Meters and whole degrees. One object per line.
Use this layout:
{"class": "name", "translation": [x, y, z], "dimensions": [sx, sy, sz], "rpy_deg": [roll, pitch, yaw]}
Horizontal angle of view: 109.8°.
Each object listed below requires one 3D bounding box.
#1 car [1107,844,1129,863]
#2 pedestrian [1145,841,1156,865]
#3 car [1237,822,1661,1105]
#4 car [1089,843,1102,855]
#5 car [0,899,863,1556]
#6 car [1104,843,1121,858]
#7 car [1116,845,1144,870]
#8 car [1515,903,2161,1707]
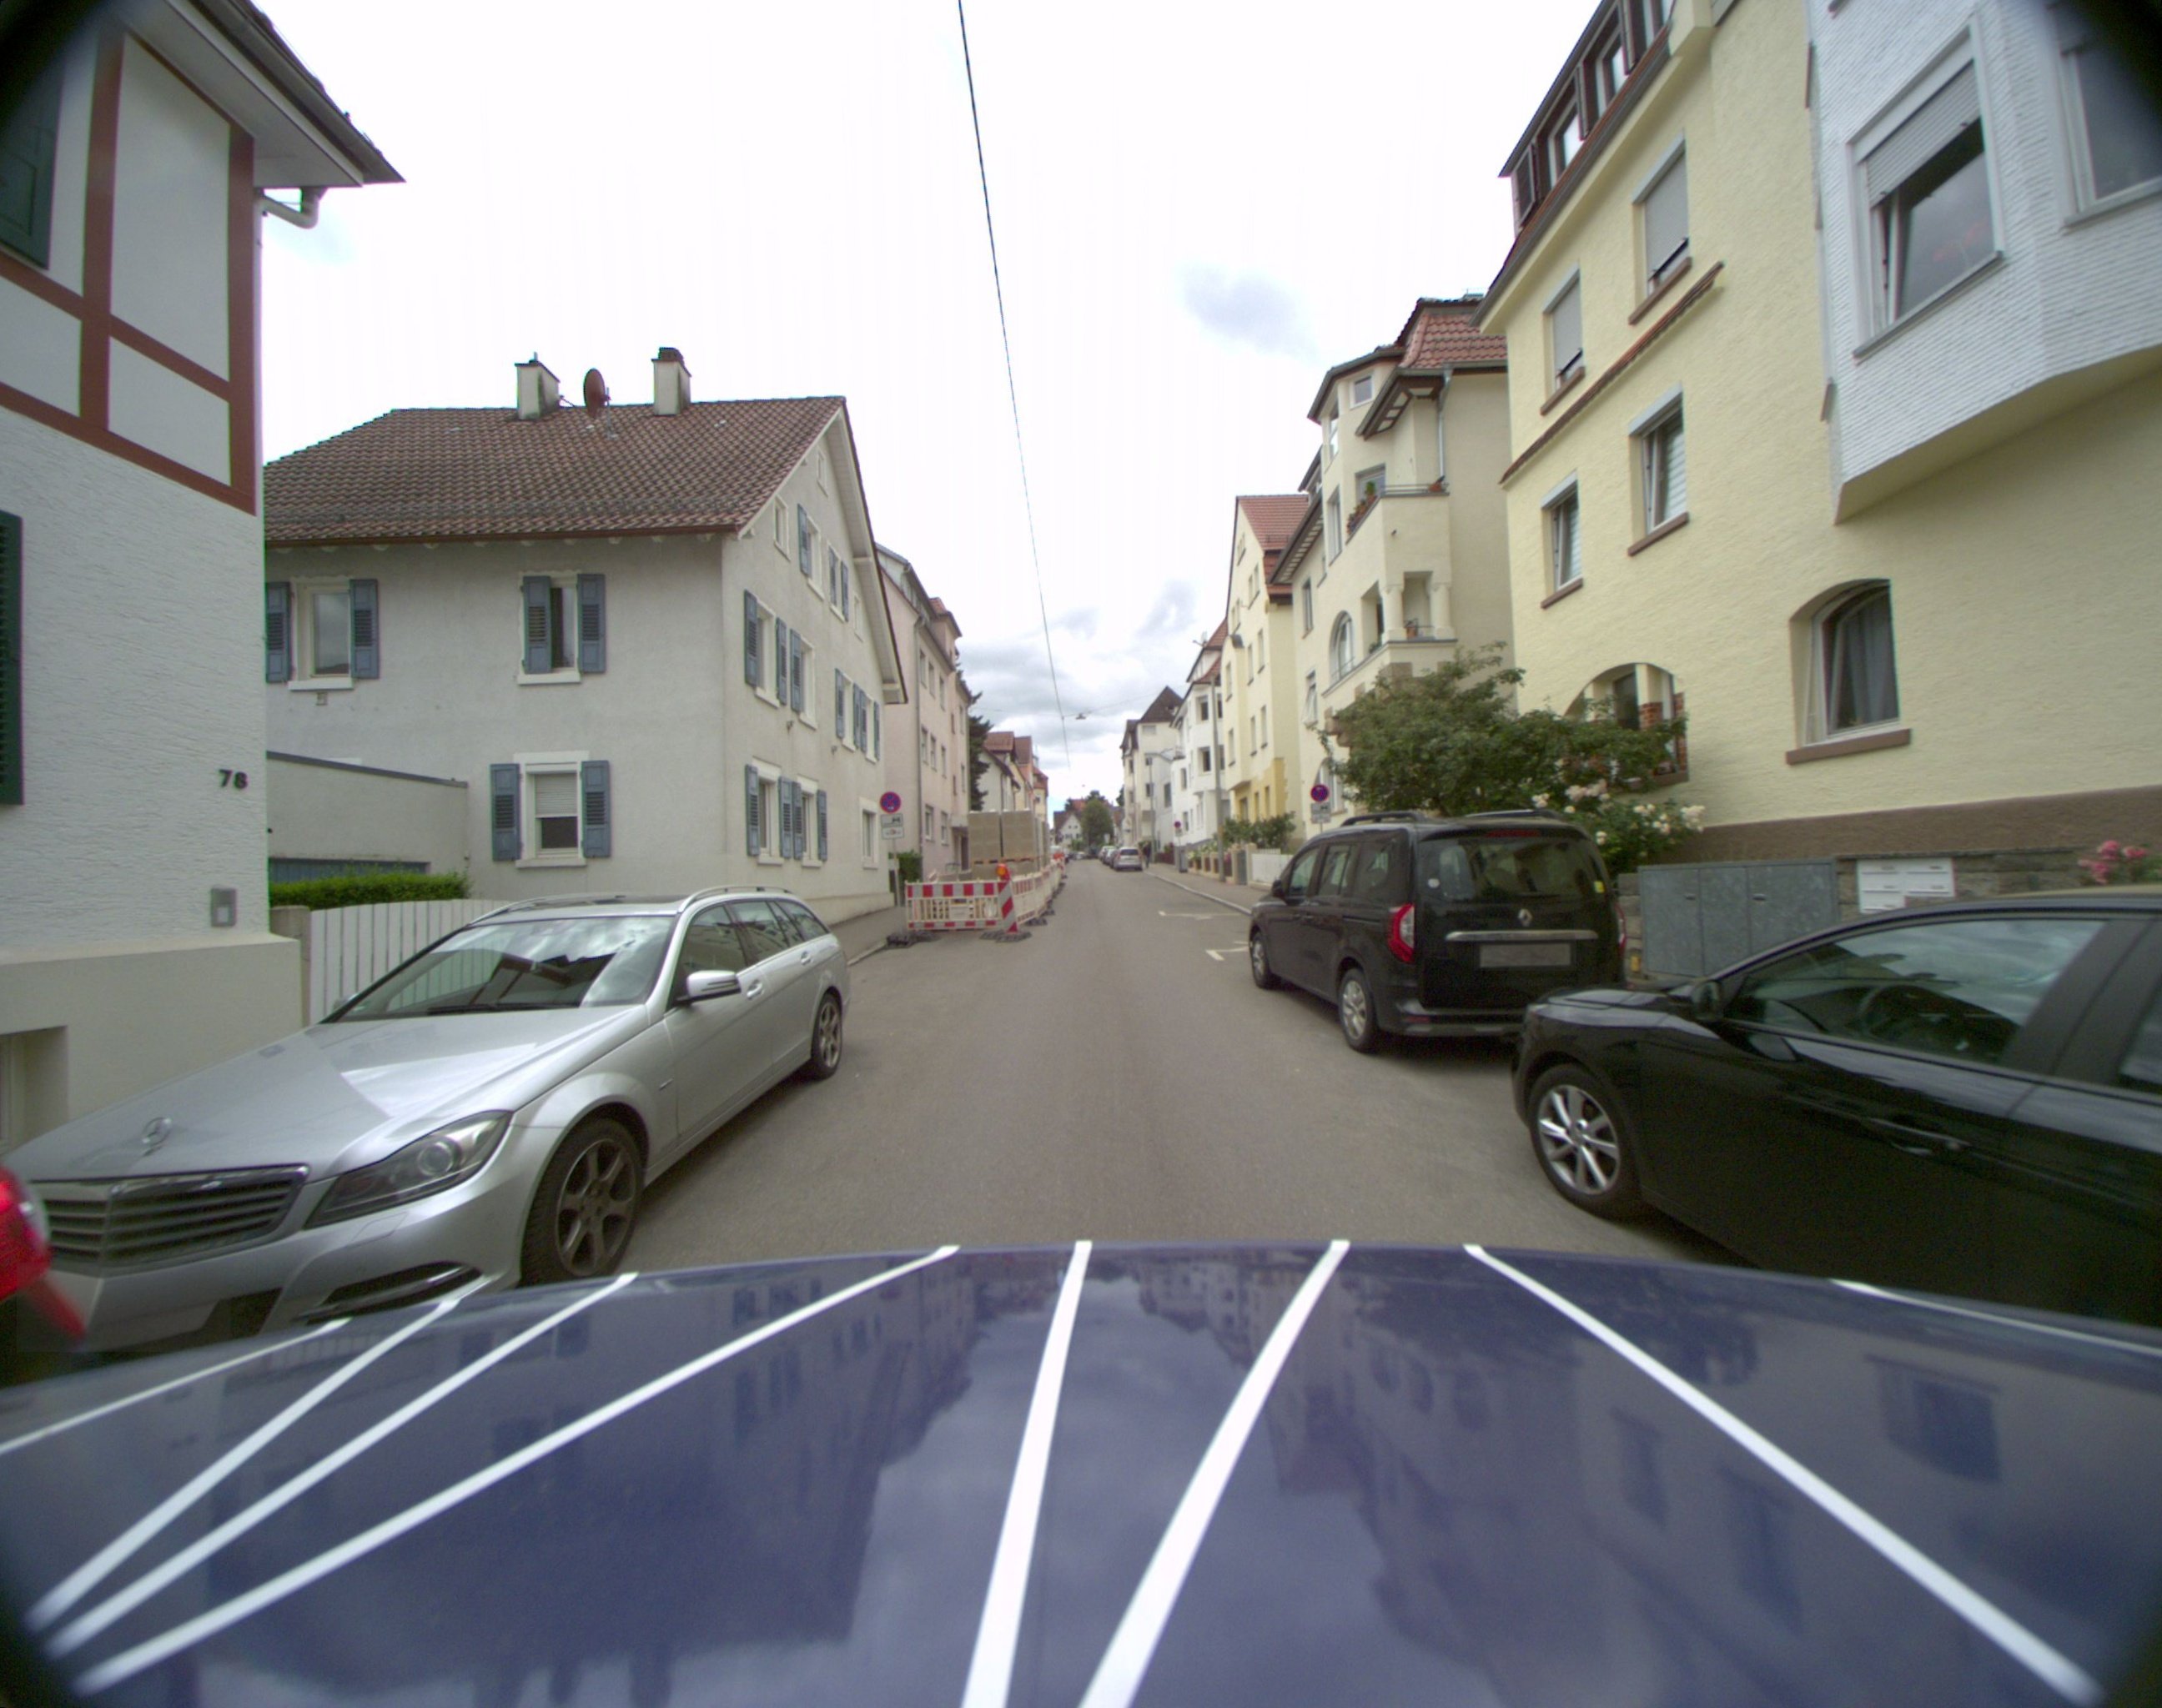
{"class": "car", "translation": [3.258, -0.072, 66.868], "dimensions": [1.782, 1.557, 3.999], "rpy_deg": [-2, 1, 1]}
{"class": "pedestrian", "translation": [4.806, -0.063, 52.931], "dimensions": [0.617, 1.646, 0.812], "rpy_deg": [-3, 0, 1]}
{"class": "car", "translation": [2.810, 0.686, 6.965], "dimensions": [1.754, 1.786, 4.148], "rpy_deg": [-1, 1, -2]}
{"class": "car", "translation": [2.179, -0.700, 109.895], "dimensions": [1.782, 1.557, 3.999], "rpy_deg": [-2, 1, 1]}
{"class": "car", "translation": [-2.595, 1.089, 4.043], "dimensions": [1.629, 1.384, 4.236], "rpy_deg": [-3, 0, -1]}
{"class": "car", "translation": [3.401, -0.371, 83.411], "dimensions": [1.782, 1.557, 3.999], "rpy_deg": [-2, 1, 1]}
{"class": "car", "translation": [3.272, 0.186, 51.114], "dimensions": [1.663, 1.557, 3.999], "rpy_deg": [-2, 1, 1]}
{"class": "car", "translation": [2.852, 0.941, 1.684], "dimensions": [1.643, 1.391, 3.702], "rpy_deg": [0, 1, 0]}
